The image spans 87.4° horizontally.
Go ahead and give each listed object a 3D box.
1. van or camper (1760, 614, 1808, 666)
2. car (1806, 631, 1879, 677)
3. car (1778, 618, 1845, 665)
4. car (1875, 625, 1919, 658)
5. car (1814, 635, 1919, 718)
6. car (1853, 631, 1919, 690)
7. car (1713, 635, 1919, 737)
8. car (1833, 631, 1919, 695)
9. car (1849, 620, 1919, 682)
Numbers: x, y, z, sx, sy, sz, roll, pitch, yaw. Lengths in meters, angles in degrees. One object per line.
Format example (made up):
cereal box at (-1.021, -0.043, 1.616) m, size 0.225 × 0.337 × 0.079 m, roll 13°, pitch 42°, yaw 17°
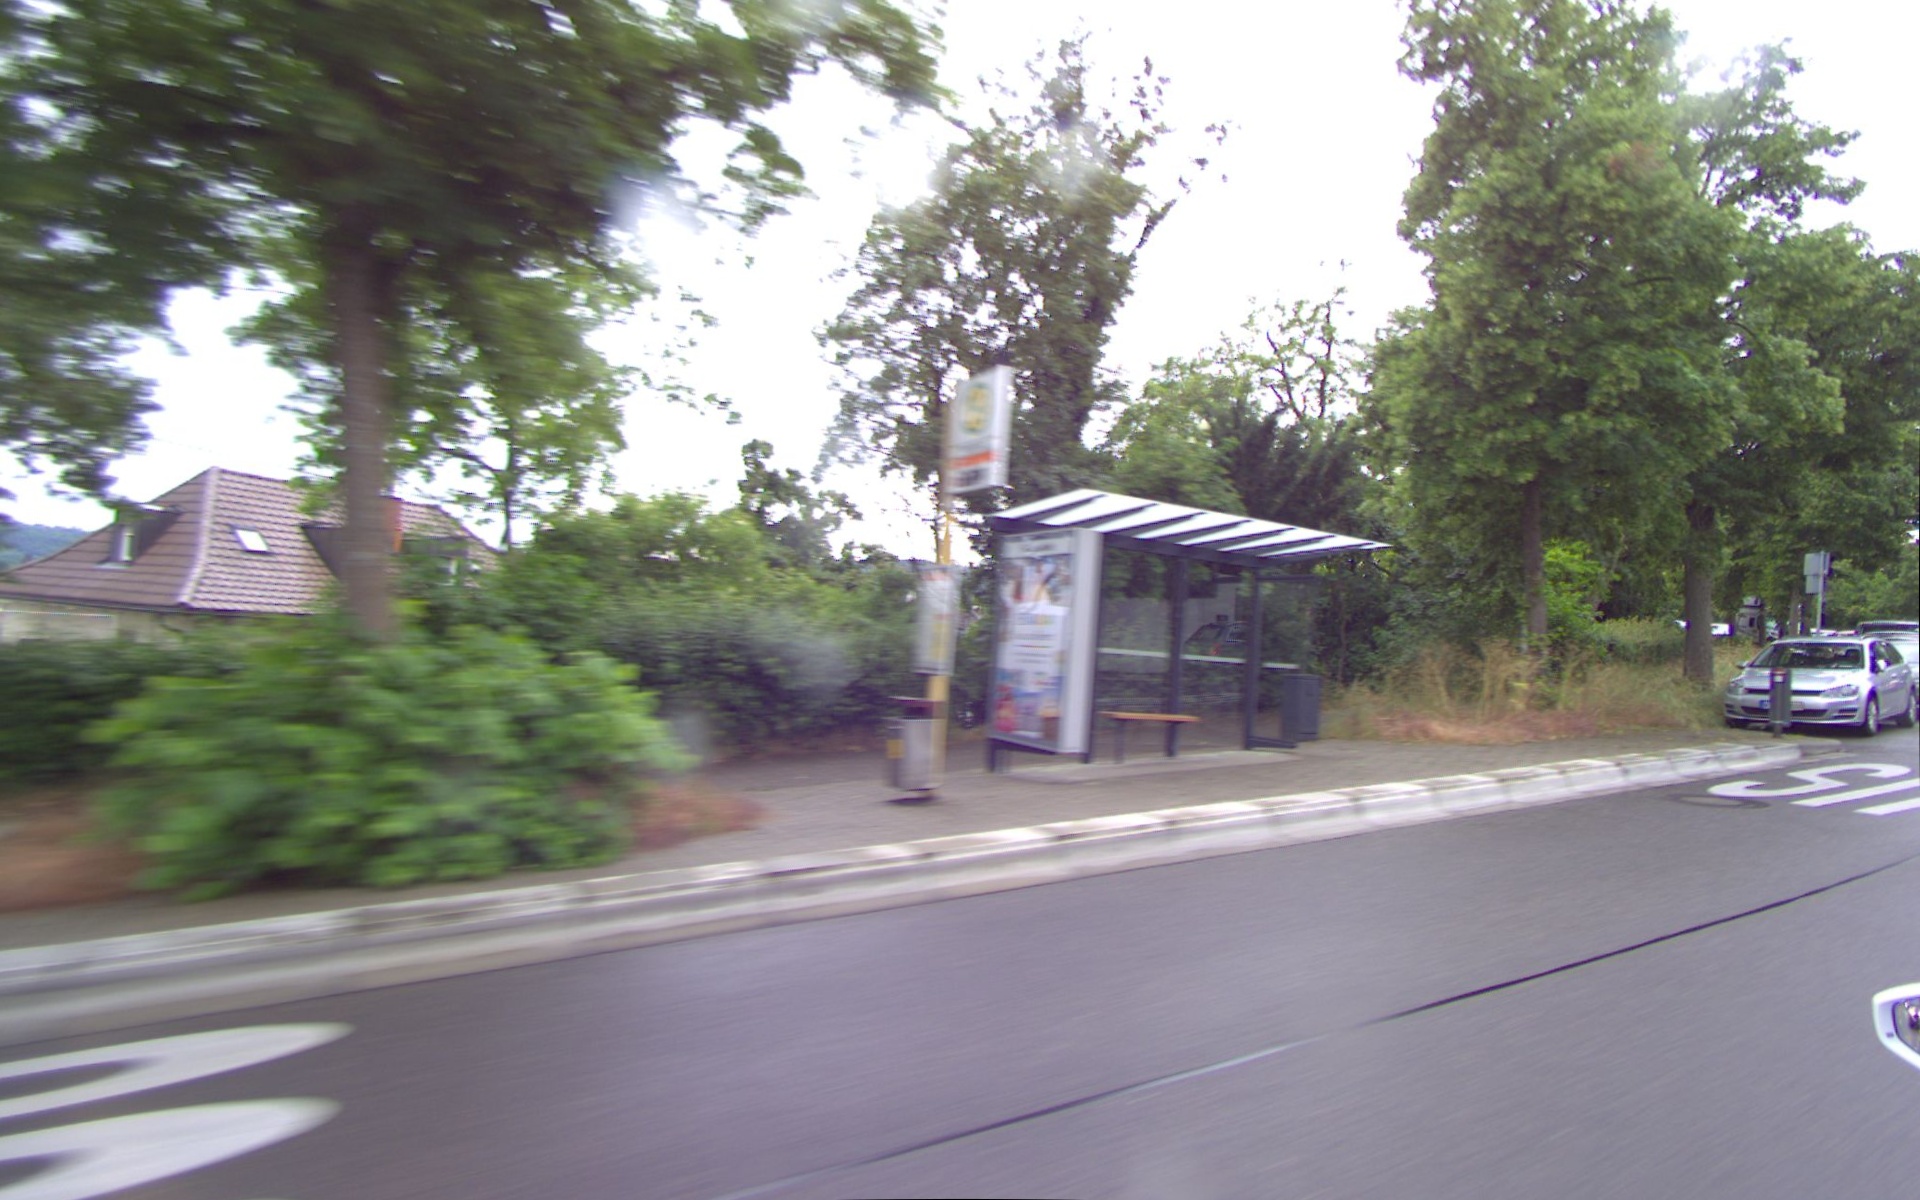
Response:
van or camper at (44.362, 2.152, 54.141) m, size 1.757 × 2.686 × 3.975 m, roll -2°, pitch -3°, yaw 37°
car at (35.166, 2.151, 40.123) m, size 1.970 × 1.750 × 3.982 m, roll -3°, pitch -4°, yaw 39°
car at (38.664, 1.874, 45.693) m, size 1.968 × 2.040 × 3.986 m, roll -2°, pitch -3°, yaw 36°
car at (47.628, 2.068, 50.052) m, size 1.738 × 1.590 × 4.028 m, roll -1°, pitch -3°, yaw 24°
car at (17.819, 1.397, 19.199) m, size 3.968 × 1.445 × 1.660 m, roll 2°, pitch -3°, yaw -40°
car at (26.671, 1.687, 28.678) m, size 1.656 × 1.572 × 3.880 m, roll -2°, pitch -3°, yaw 43°
car at (13.764, 1.286, 16.067) m, size 3.962 × 1.445 × 1.662 m, roll 2°, pitch -3°, yaw -36°
car at (22.675, 1.483, 24.451) m, size 3.970 × 1.445 × 1.659 m, roll 2°, pitch -3°, yaw -42°
car at (29.822, 1.622, 32.288) m, size 1.816 × 1.867 × 3.882 m, roll -2°, pitch -3°, yaw 42°
